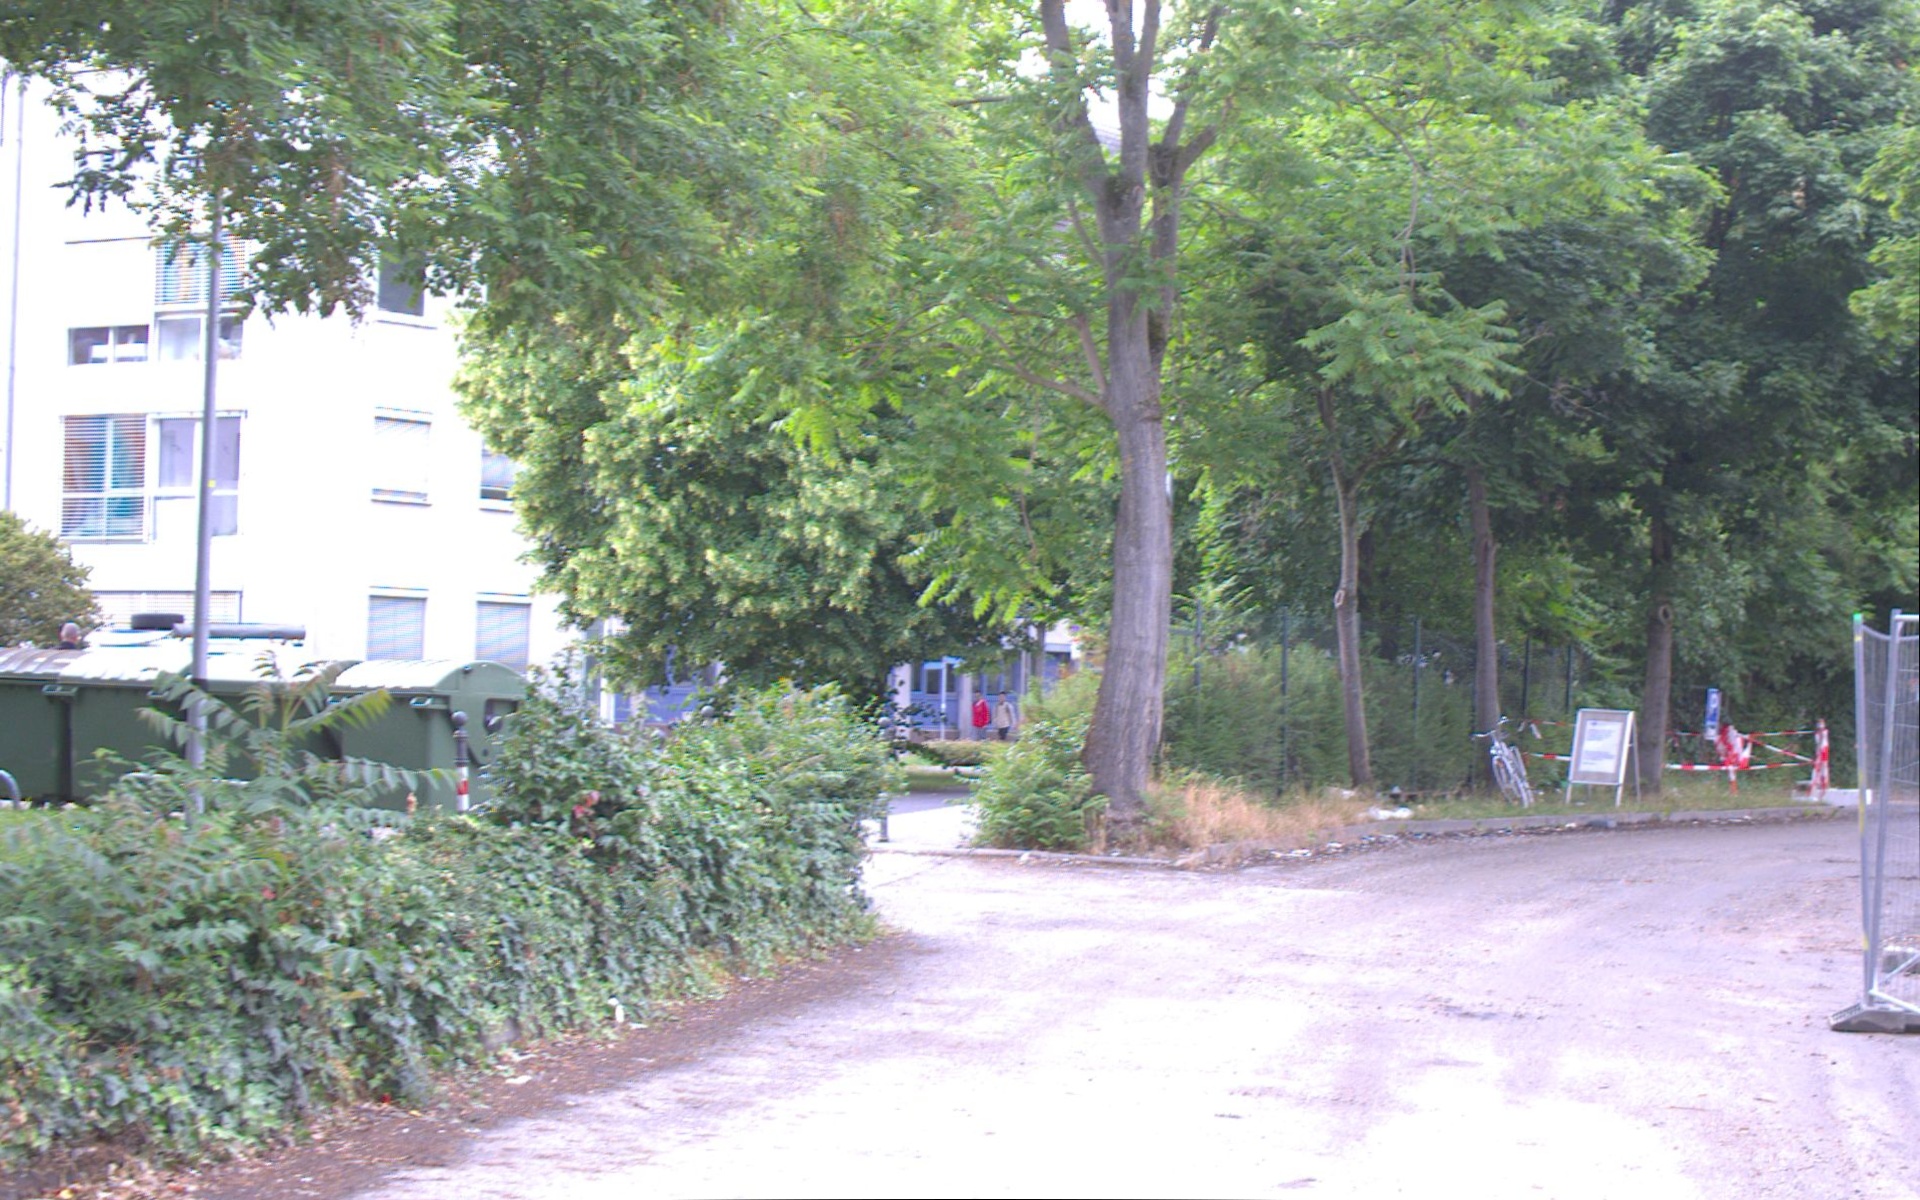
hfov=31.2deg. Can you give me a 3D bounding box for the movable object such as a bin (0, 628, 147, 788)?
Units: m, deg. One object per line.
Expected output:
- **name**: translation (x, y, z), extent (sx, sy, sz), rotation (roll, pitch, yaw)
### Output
- **movable object such as a bin**: translation (-7.516, 0.864, 27.999), extent (1.351, 1.260, 1.054), rotation (1, -1, 27)

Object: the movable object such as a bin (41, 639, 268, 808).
- **movable object such as a bin**: translation (-6.343, 0.962, 27.074), extent (1.352, 1.260, 1.054), rotation (1, -1, 30)

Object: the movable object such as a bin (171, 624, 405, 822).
- **movable object such as a bin**: translation (-5.123, 0.931, 26.237), extent (1.352, 1.451, 1.054), rotation (0, -2, 30)

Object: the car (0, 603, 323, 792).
- **car**: translation (-9.383, 1.123, 38.817), extent (1.851, 2.007, 4.343), rotation (-1, -3, 31)

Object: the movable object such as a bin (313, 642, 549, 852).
- **movable object such as a bin**: translation (-3.910, 1.074, 25.391), extent (1.354, 1.445, 1.053), rotation (3, 0, 44)

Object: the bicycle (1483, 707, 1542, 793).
- **bicycle**: translation (6.047, 1.634, 37.622), extent (0.419, 0.903, 1.152), rotation (1, -1, 19)

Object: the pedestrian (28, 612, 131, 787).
- **pedestrian**: translation (-9.180, 1.042, 35.871), extent (0.697, 1.803, 0.755), rotation (-1, -3, 32)
